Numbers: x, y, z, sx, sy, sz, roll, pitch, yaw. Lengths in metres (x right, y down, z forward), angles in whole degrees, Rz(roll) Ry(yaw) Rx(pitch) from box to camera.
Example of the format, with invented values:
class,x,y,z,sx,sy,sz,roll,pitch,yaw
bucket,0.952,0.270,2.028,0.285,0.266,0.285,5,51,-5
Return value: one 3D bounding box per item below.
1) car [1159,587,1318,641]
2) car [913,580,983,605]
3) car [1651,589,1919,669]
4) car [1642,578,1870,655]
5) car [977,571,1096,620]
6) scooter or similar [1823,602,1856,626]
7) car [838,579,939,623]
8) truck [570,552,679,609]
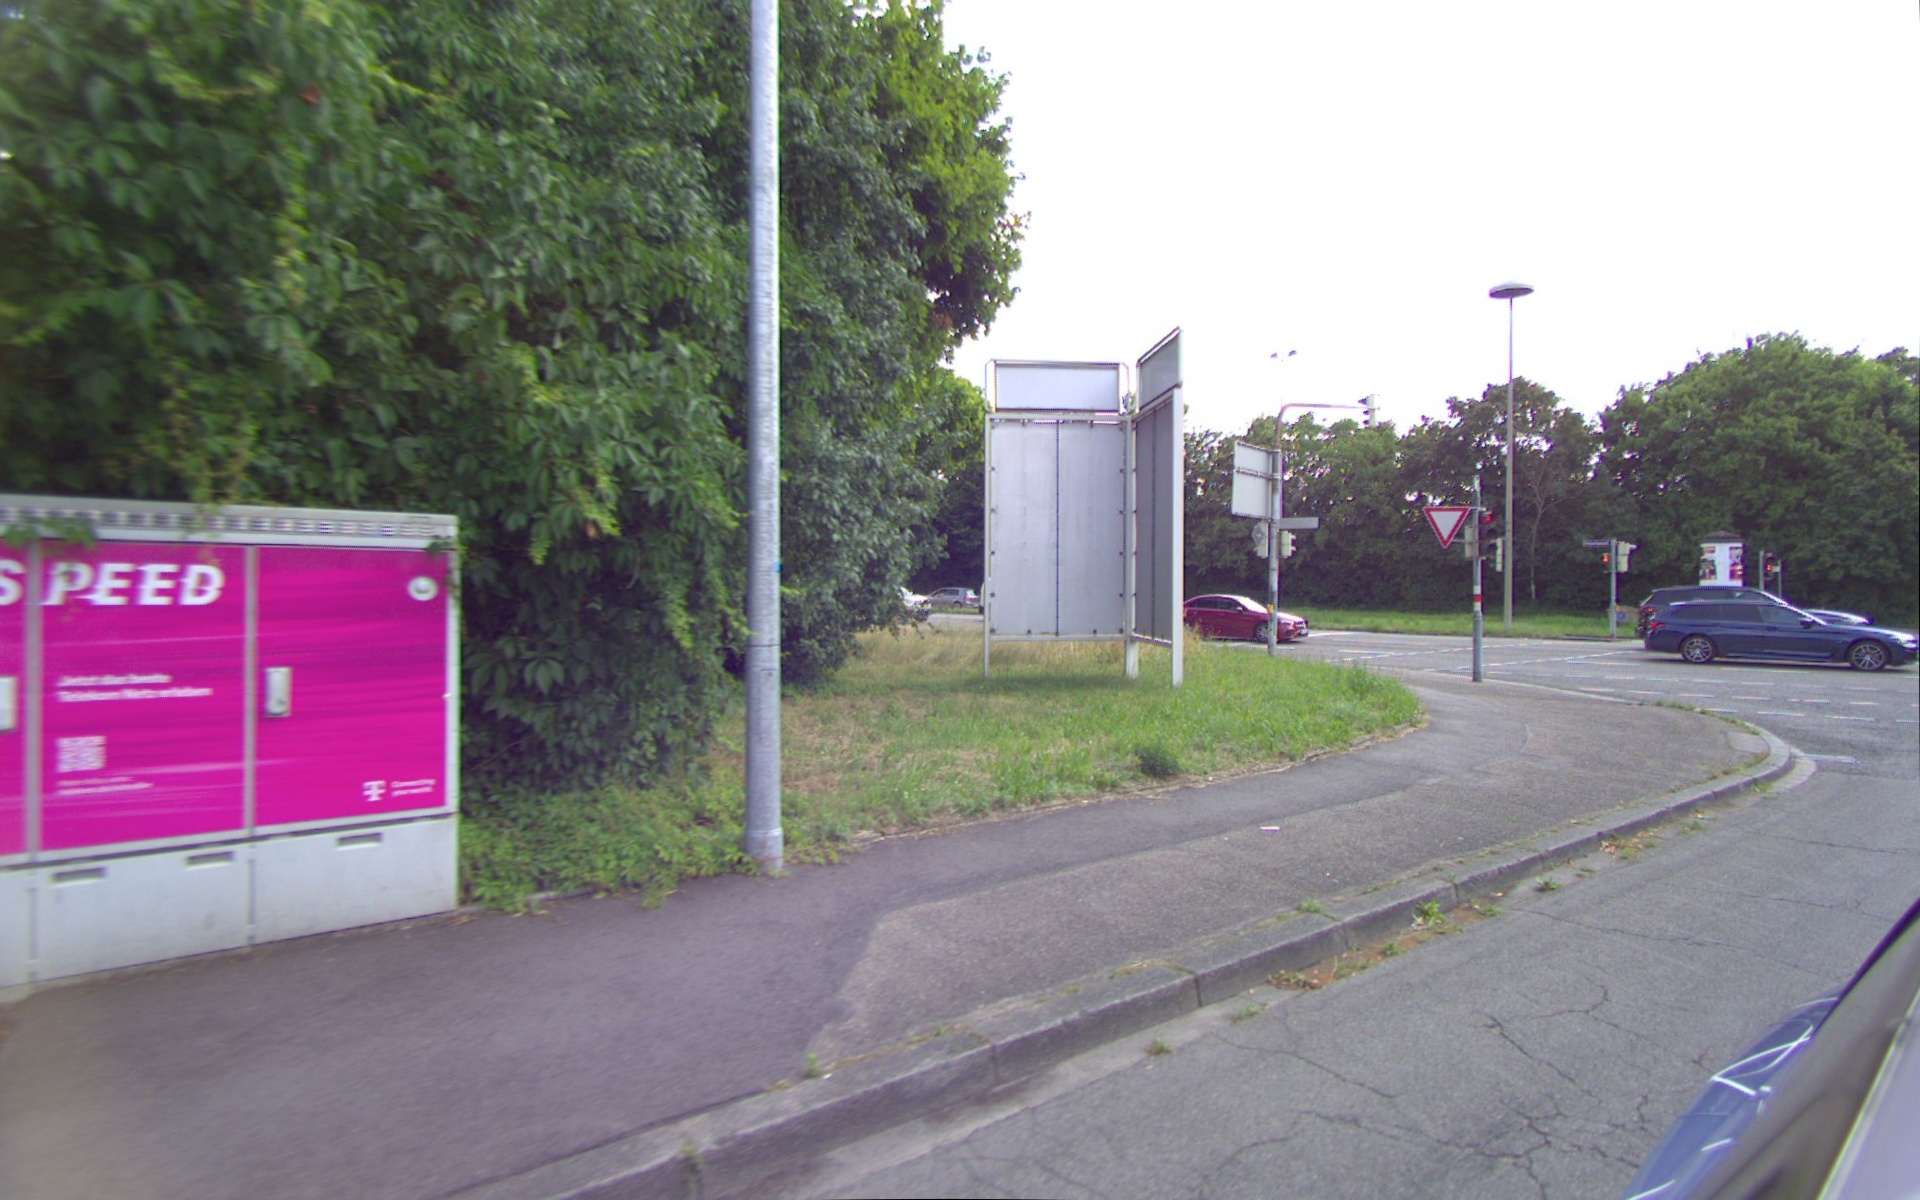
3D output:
class,x,y,z,sx,sy,sz,roll,pitch,yaw
car,8.607,0.383,31.490,4.515,1.480,1.704,1,3,41
car,-0.753,-0.444,59.719,4.060,1.390,1.577,1,0,38
car,18.704,0.579,22.968,4.852,1.515,1.777,2,3,41
car,20.696,0.352,26.495,4.530,1.767,1.792,2,2,41
car,3.058,-0.237,41.126,4.710,1.820,1.746,2,2,41
scooter or similar,37.795,0.592,43.475,0.292,0.953,1.034,-2,3,-42
car,-2.962,0.015,41.320,4.157,1.631,1.704,2,3,41
truck,-18.189,-1.078,54.657,6.935,2.895,2.332,1,3,41
